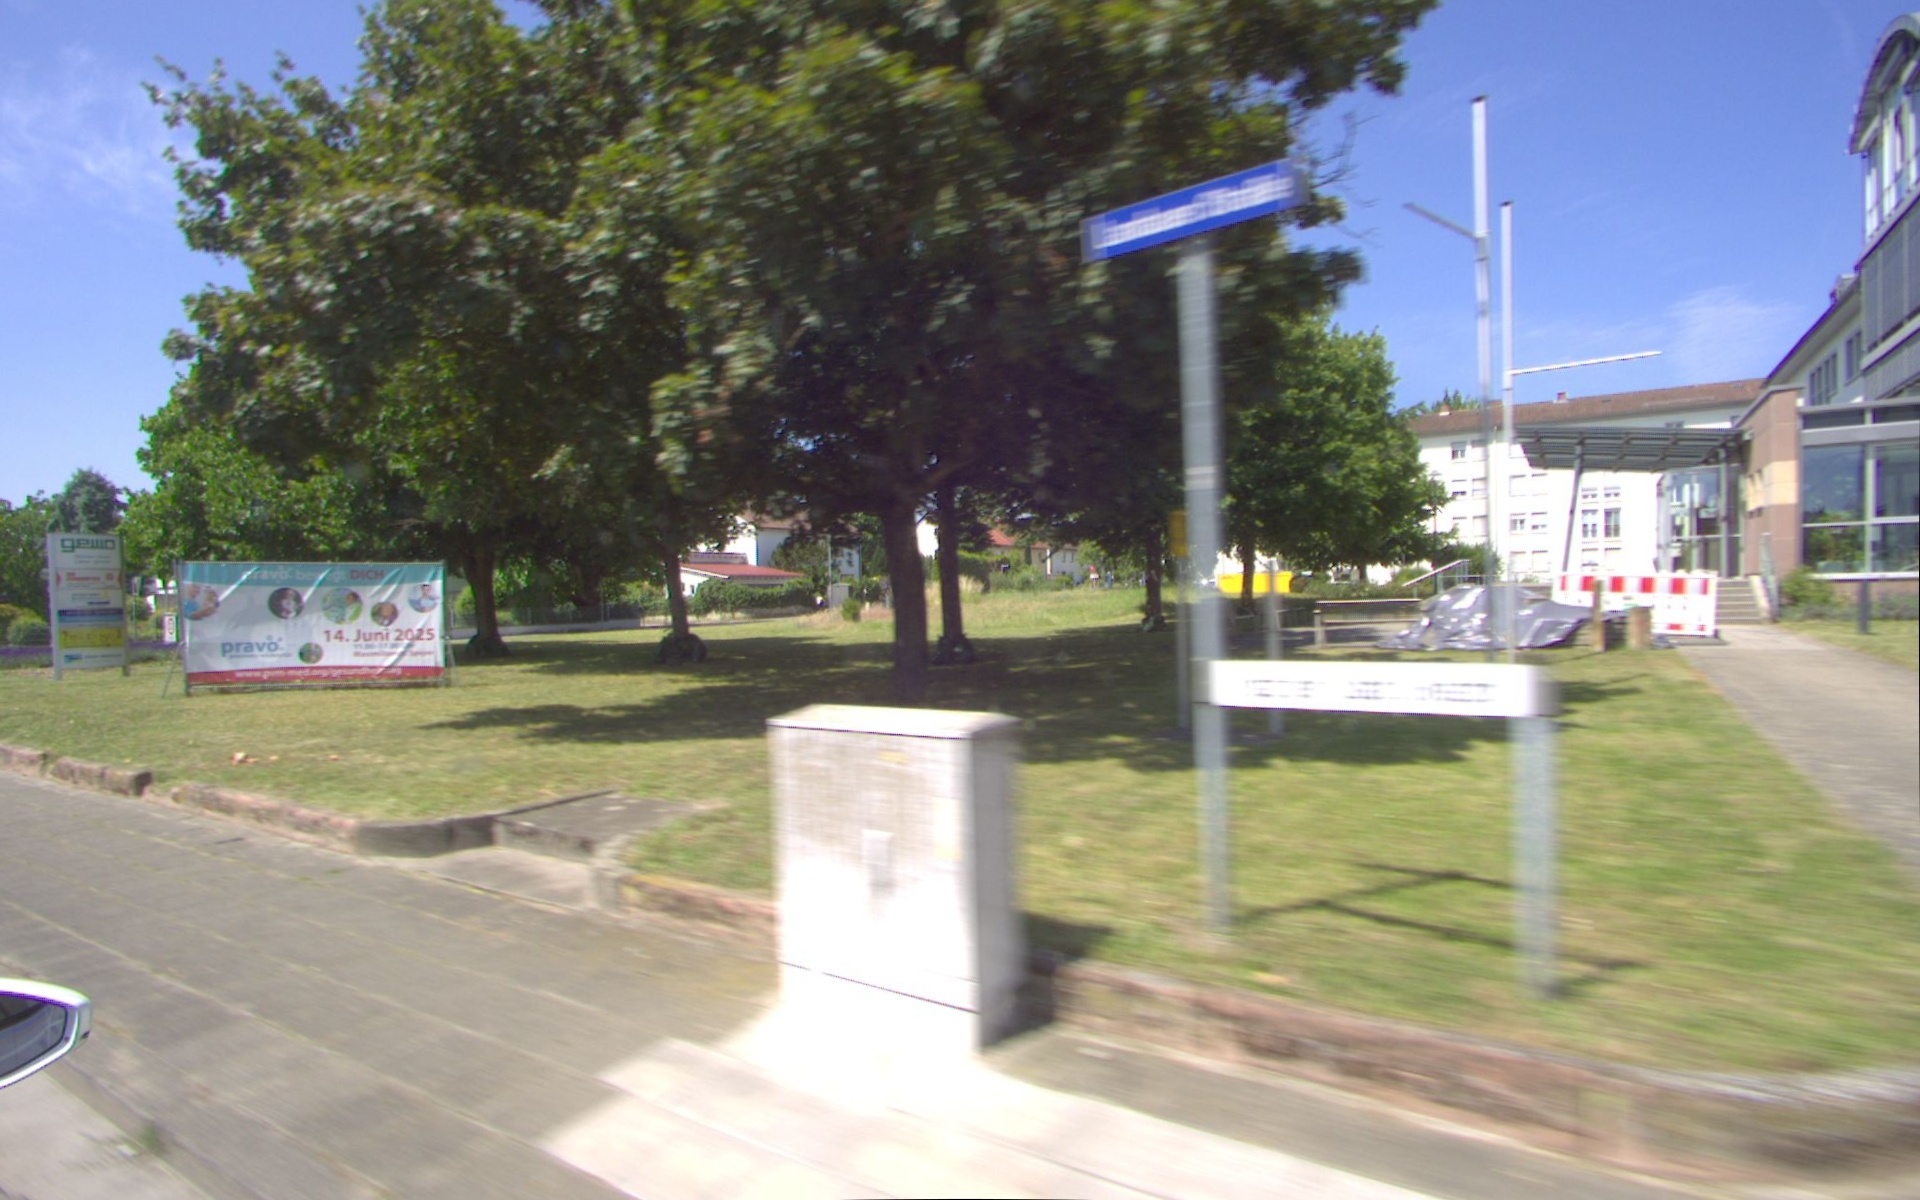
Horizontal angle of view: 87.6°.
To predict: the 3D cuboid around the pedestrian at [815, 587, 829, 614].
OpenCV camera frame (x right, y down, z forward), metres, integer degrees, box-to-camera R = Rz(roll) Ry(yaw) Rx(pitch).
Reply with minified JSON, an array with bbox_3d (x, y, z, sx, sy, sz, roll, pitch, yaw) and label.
[{"bbox_3d":[-9.836,0.049,71.404,0.772,1.876,0.629,-1,-1,27],"label":"pedestrian"}]
